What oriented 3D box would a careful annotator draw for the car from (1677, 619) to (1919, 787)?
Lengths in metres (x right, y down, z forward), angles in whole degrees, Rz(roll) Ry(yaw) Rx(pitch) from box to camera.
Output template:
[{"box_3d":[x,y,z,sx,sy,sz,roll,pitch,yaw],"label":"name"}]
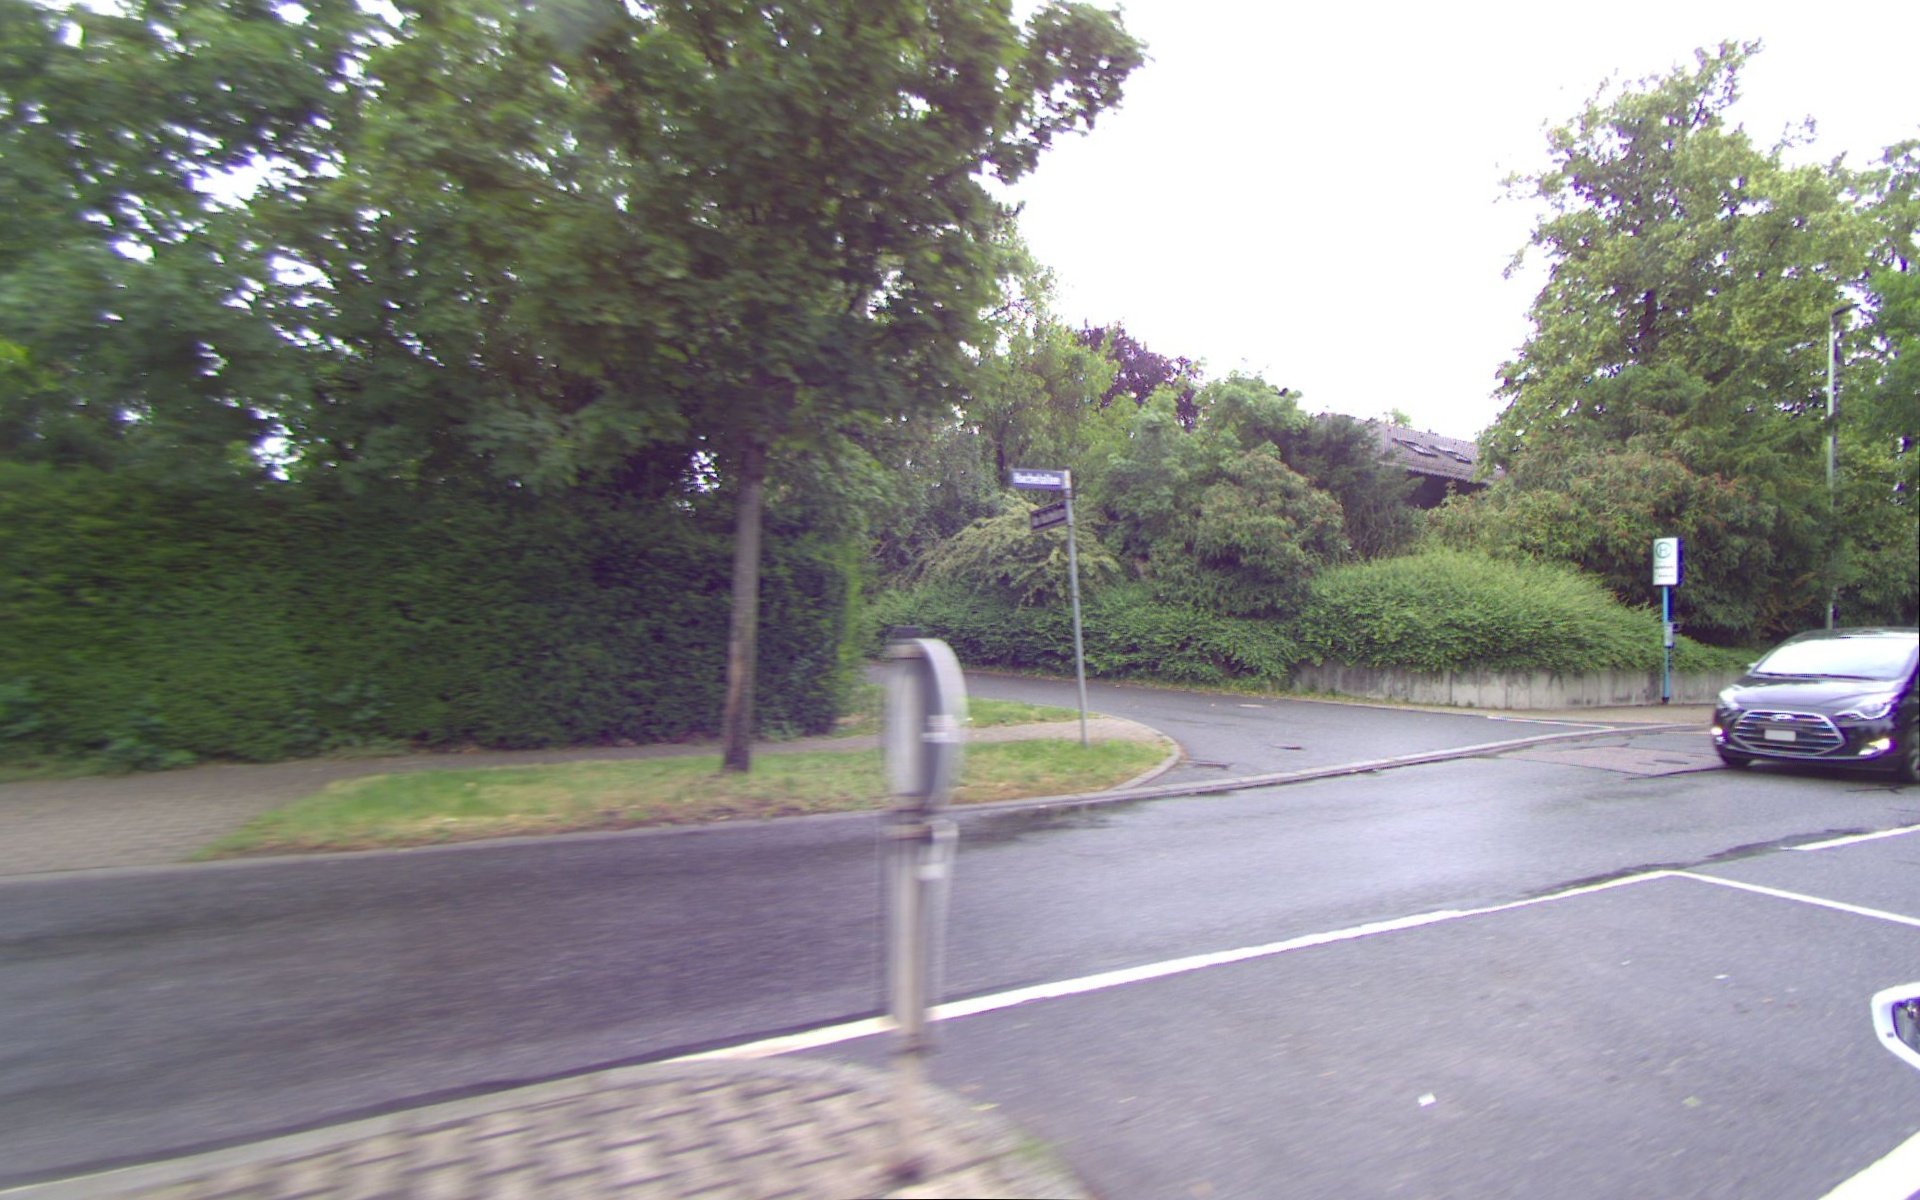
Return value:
[{"box_3d":[10.330,1.054,11.571,3.954,1.598,1.984,1,-1,-31],"label":"car"}]
